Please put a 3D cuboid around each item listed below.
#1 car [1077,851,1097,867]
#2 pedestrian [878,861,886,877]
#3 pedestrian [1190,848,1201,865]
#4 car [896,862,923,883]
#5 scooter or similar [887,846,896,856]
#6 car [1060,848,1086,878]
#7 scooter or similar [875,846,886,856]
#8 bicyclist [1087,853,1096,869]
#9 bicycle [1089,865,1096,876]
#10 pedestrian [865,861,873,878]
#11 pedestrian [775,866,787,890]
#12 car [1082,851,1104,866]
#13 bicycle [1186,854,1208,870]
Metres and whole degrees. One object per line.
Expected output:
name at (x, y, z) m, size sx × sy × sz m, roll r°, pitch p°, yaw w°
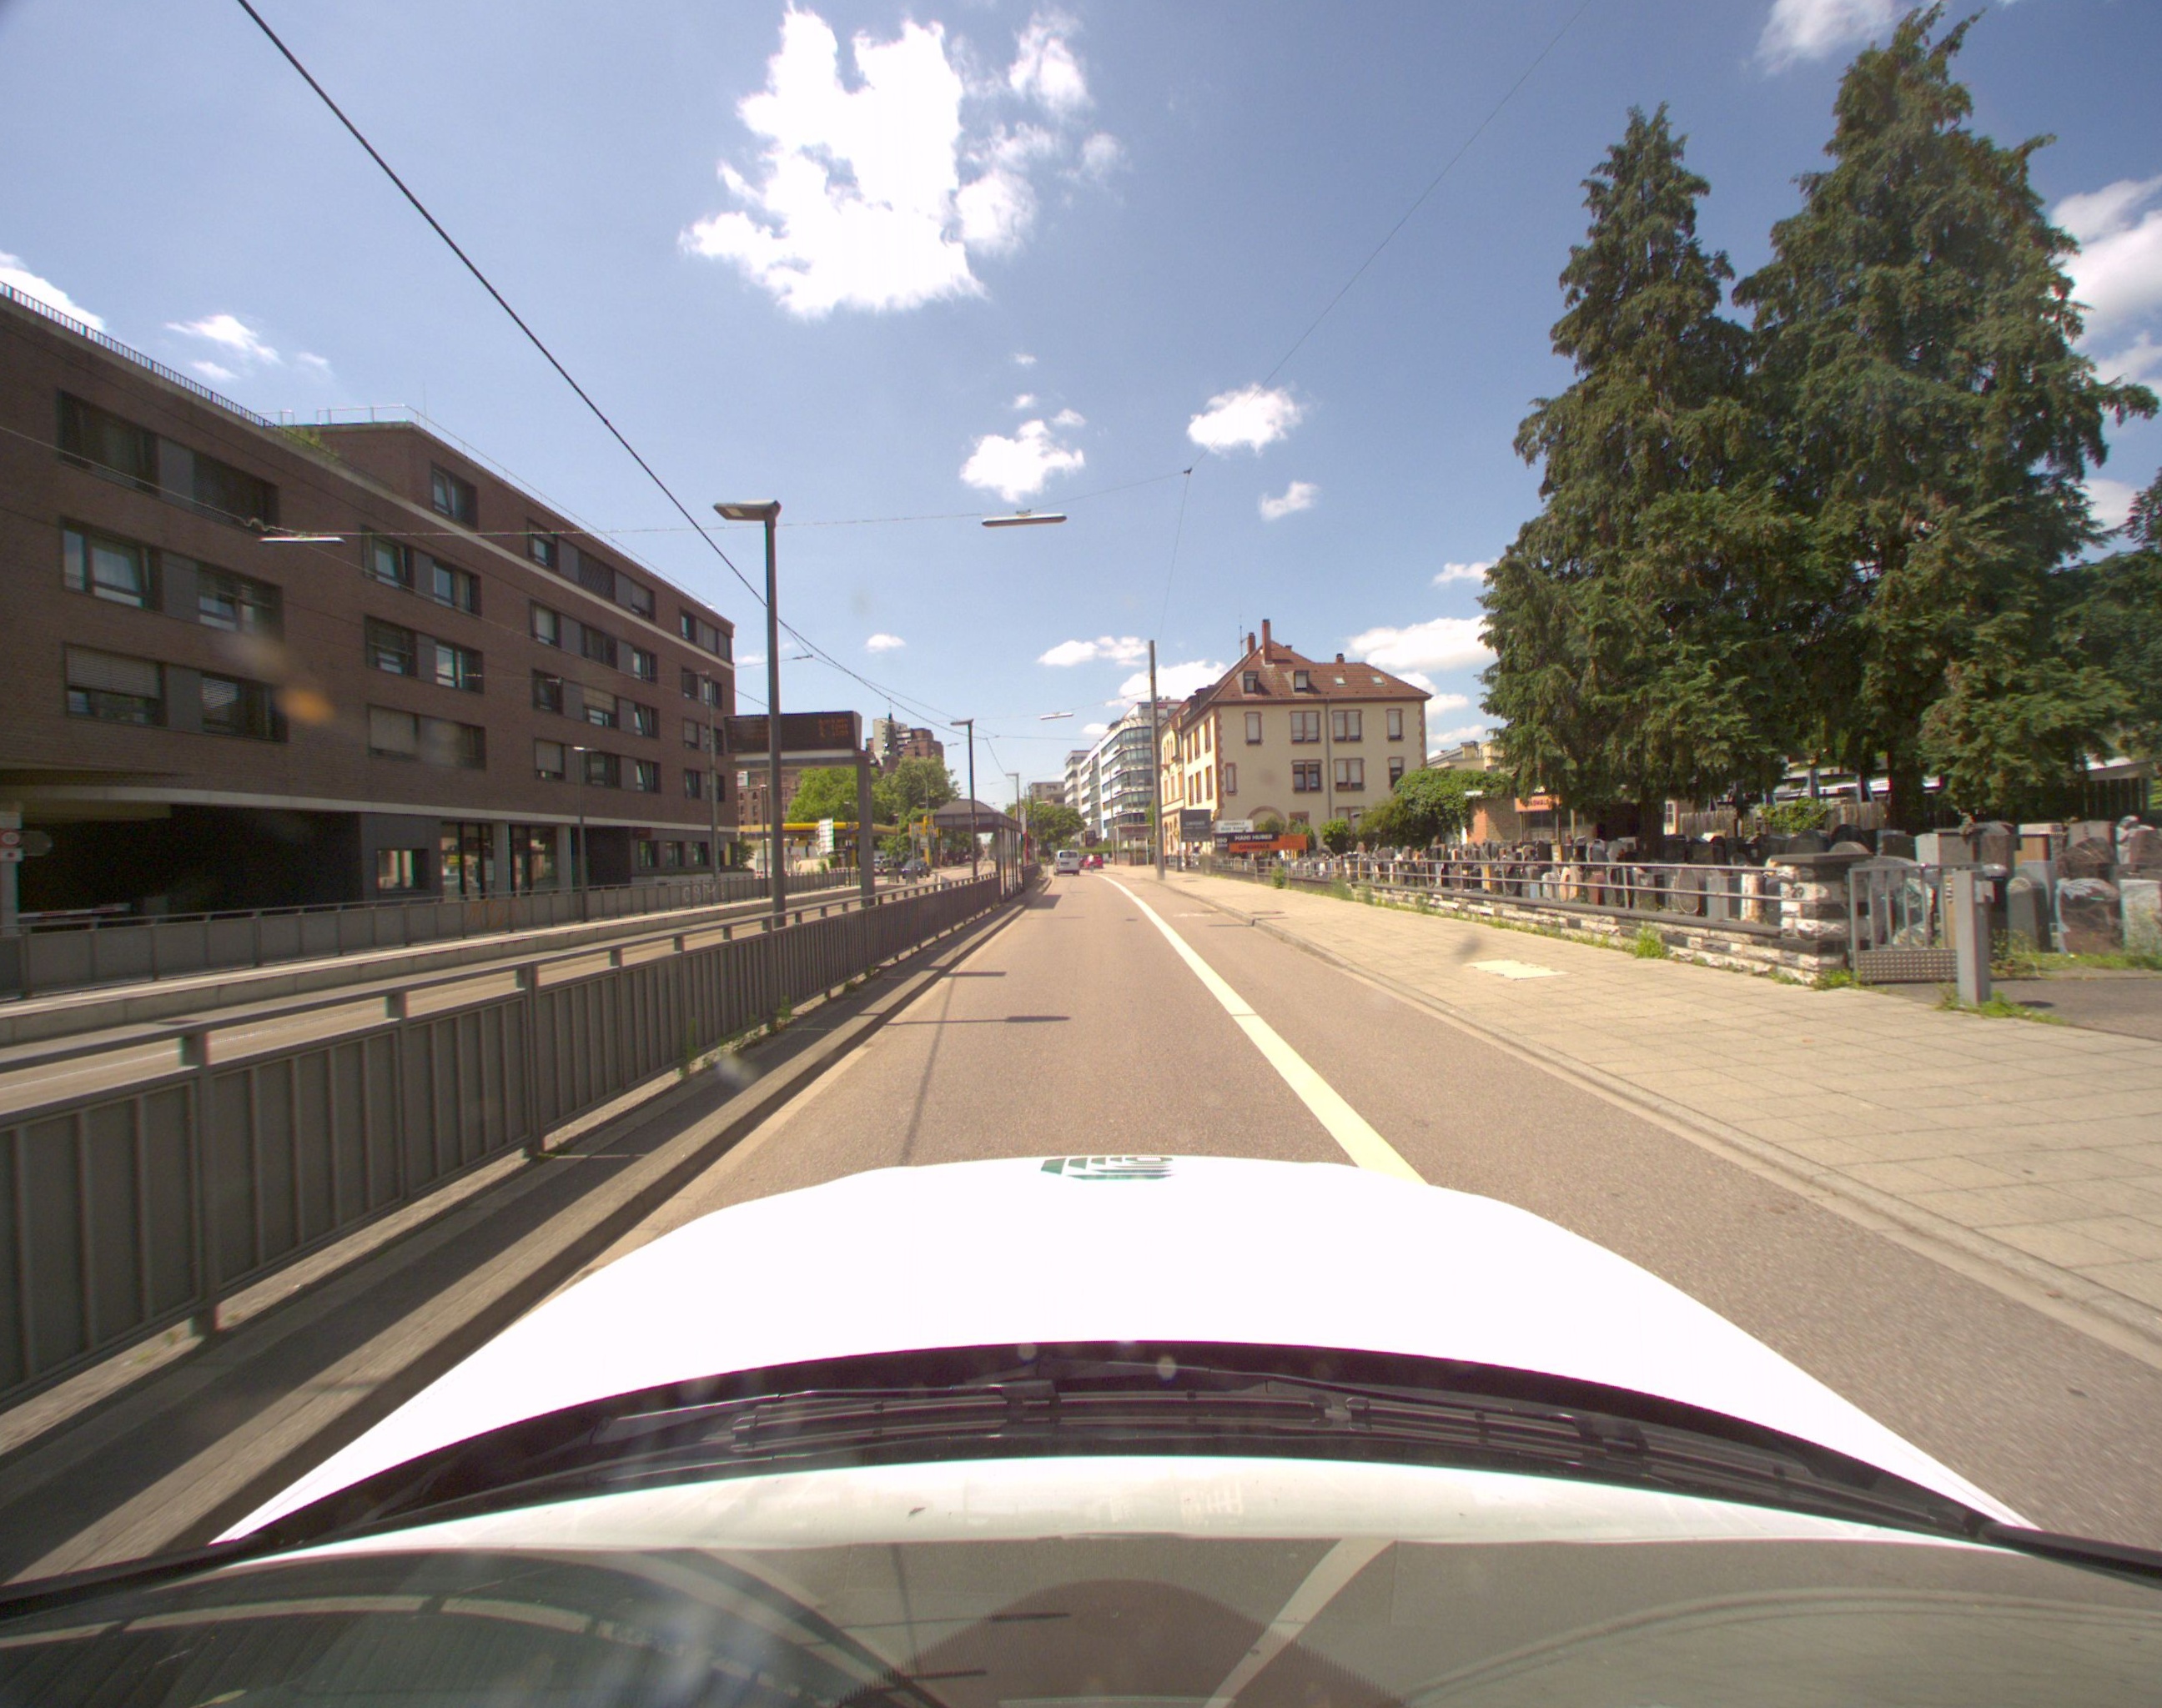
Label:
car at (0.617, 0.584, 92.221) m, size 1.859 × 1.687 × 4.993 m, roll -3°, pitch 0°, yaw -4°
pedestrian at (-20.299, 1.512, 82.924) m, size 0.578 × 1.671 × 0.667 m, roll -2°, pitch 0°, yaw 1°
pedestrian at (7.324, 0.138, 52.194) m, size 0.530 × 1.053 × 0.487 m, roll -5°, pitch -2°, yaw 23°
car at (-15.171, 1.582, 72.322) m, size 1.695 × 1.615 × 3.754 m, roll -4°, pitch 1°, yaw -3°
scooter or similar at (-29.150, -0.486, 125.174) m, size 1.169 × 1.466 × 1.058 m, roll -2°, pitch -1°, yaw -2°
car at (-0.612, 0.600, 59.753) m, size 1.747 × 2.013 × 3.998 m, roll -3°, pitch 1°, yaw -2°
scooter or similar at (-30.849, -0.391, 125.250) m, size 1.308 × 1.466 × 1.060 m, roll -2°, pitch -1°, yaw 4°
bicyclist at (0.891, 0.587, 68.743) m, size 0.590 × 1.397 × 0.840 m, roll -2°, pitch 0°, yaw -6°
bicycle at (0.941, 1.358, 68.755) m, size 0.464 × 0.887 × 2.046 m, roll -2°, pitch 0°, yaw -2°
pedestrian at (-21.358, 1.550, 82.103) m, size 0.551 × 1.658 × 0.672 m, roll -2°, pitch 0°, yaw 0°
pedestrian at (-17.432, 1.404, 47.333) m, size 0.434 × 1.384 × 0.536 m, roll -4°, pitch -1°, yaw 1°
car at (1.265, 0.428, 86.089) m, size 1.710 × 1.452 × 4.063 m, roll -4°, pitch 0°, yaw -6°
bicycle at (7.407, 0.502, 52.166) m, size 1.301 × 0.940 × 0.359 m, roll -5°, pitch -2°, yaw 21°
